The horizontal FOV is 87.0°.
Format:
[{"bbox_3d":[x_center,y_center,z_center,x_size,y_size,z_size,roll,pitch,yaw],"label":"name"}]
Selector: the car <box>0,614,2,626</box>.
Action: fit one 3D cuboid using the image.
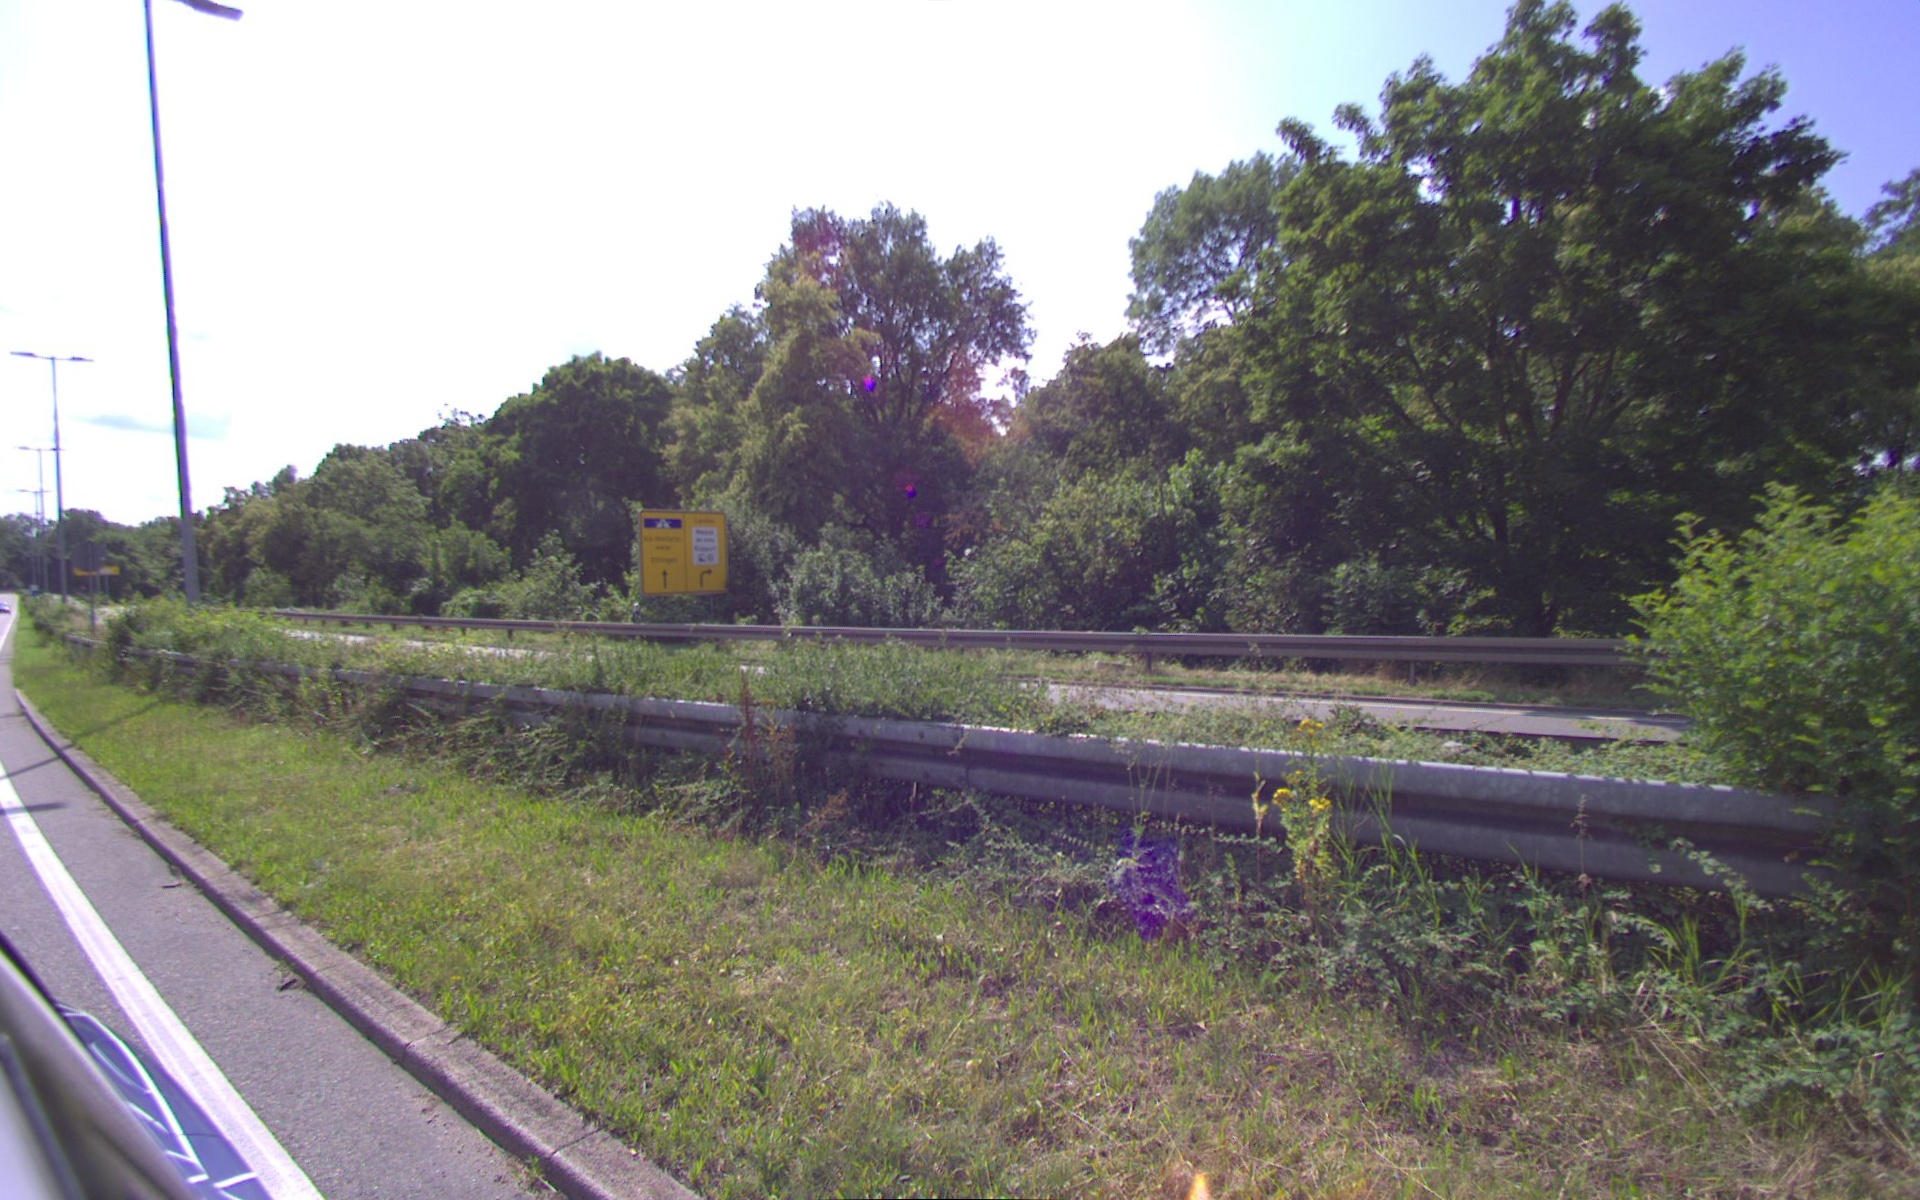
[{"bbox_3d":[-116.259,2.462,121.489,1.771,1.386,4.004,-2,0,-42],"label":"car"}]
